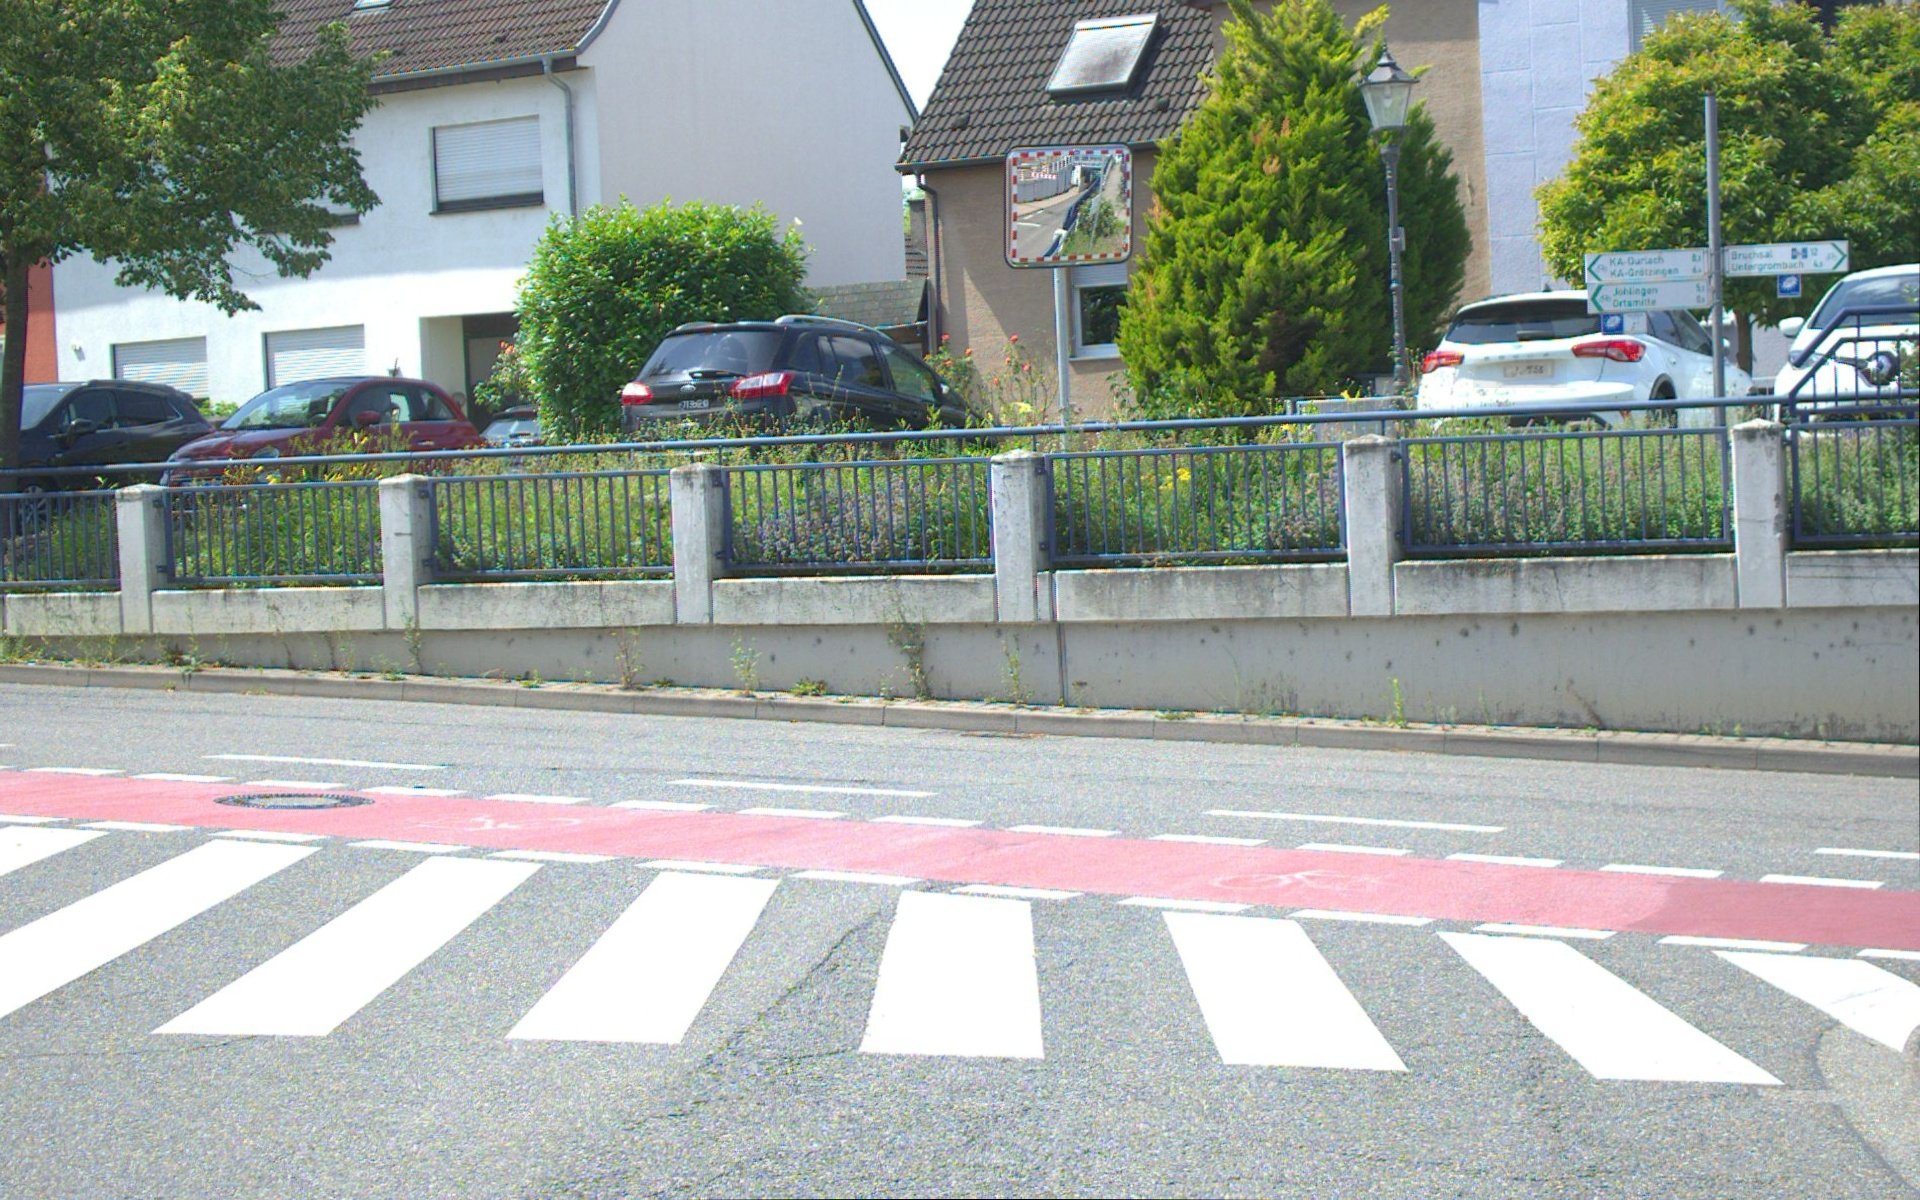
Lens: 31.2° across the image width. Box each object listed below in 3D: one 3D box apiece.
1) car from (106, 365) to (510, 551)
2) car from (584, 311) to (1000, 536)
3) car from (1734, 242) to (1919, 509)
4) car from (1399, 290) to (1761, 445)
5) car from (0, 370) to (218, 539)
[{"bbox_3d":[-5.983,-1.299,31.914,1.870,1.581,3.605,3,2,26],"label":"car"},{"bbox_3d":[-1.381,-1.496,29.922,1.870,1.790,3.995,3,2,26],"label":"car"},{"bbox_3d":[7.202,-1.569,25.211,1.996,1.790,4.191,3,2,26],"label":"car"},{"bbox_3d":[4.815,-1.758,26.363,1.827,1.016,3.454,3,3,26],"label":"car"},{"bbox_3d":[-9.236,-1.437,33.924,1.870,1.581,3.605,3,2,26],"label":"car"}]
